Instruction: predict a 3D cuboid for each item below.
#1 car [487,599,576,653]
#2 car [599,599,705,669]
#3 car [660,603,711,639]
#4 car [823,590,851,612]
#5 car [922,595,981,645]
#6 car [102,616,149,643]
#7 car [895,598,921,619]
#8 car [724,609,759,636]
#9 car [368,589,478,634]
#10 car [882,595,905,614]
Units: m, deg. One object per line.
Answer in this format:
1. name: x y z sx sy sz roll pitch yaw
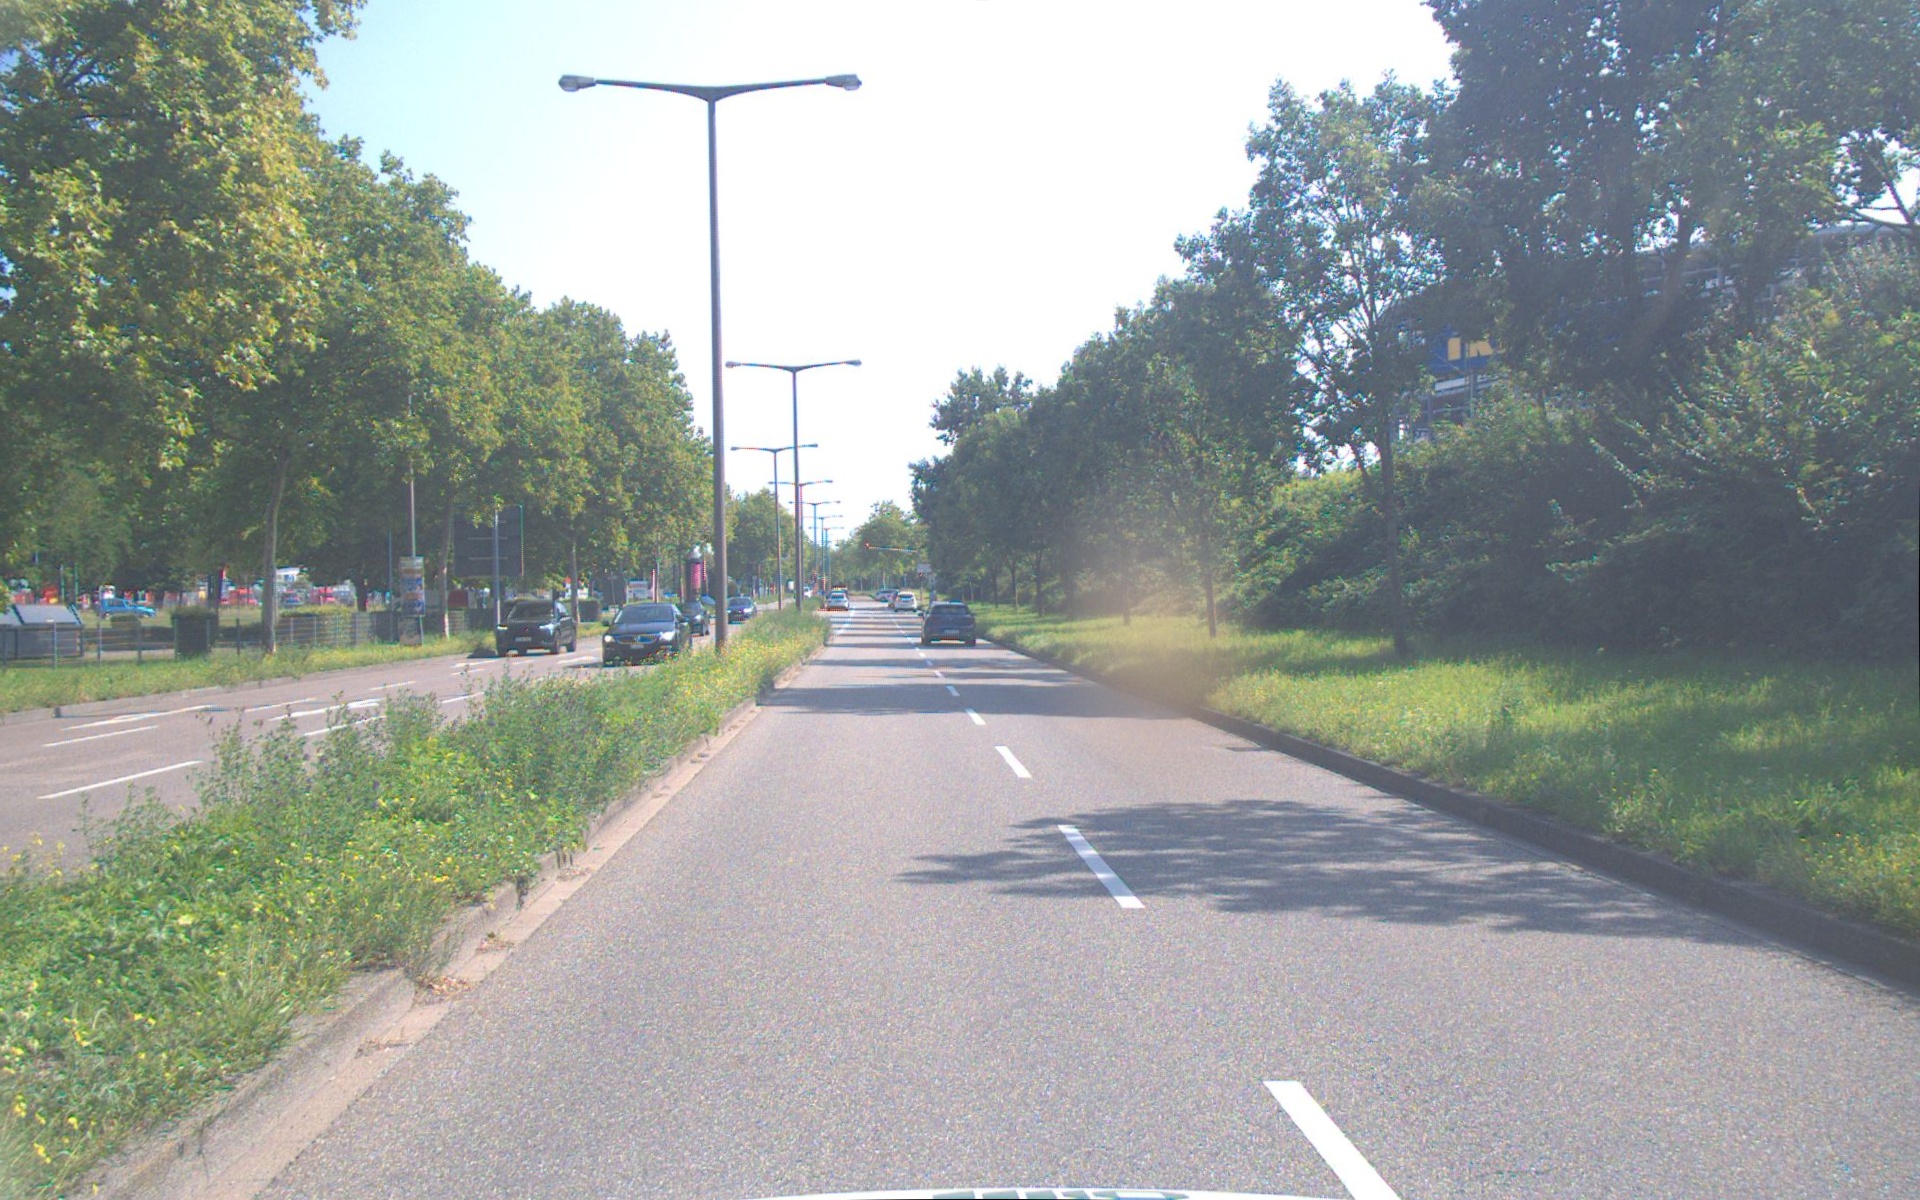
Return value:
1. car: -13.404 0.792 52.018 1.809 1.633 4.607 0 0 -3
2. car: -7.277 0.762 39.521 1.809 1.516 4.641 -2 0 -3
3. car: -12.039 0.897 72.742 1.671 1.516 4.310 -1 0 -3
4. car: -10.257 0.106 138.072 1.953 1.731 4.000 -1 0 0
5. car: -0.316 0.640 55.541 1.745 1.452 3.999 1 2 -3
6. car: -53.215 1.853 105.465 1.913 1.477 3.945 -1 3 -38
7. car: -4.278 0.696 135.768 1.954 1.683 3.997 -1 0 -4
8. car: -13.422 1.355 101.728 1.955 1.613 4.342 -1 0 -5
9. car: -30.133 0.627 92.945 5.475 2.377 2.277 1 2 -5
10. car: -6.453 0.424 160.385 1.955 1.683 3.996 -1 1 -5
